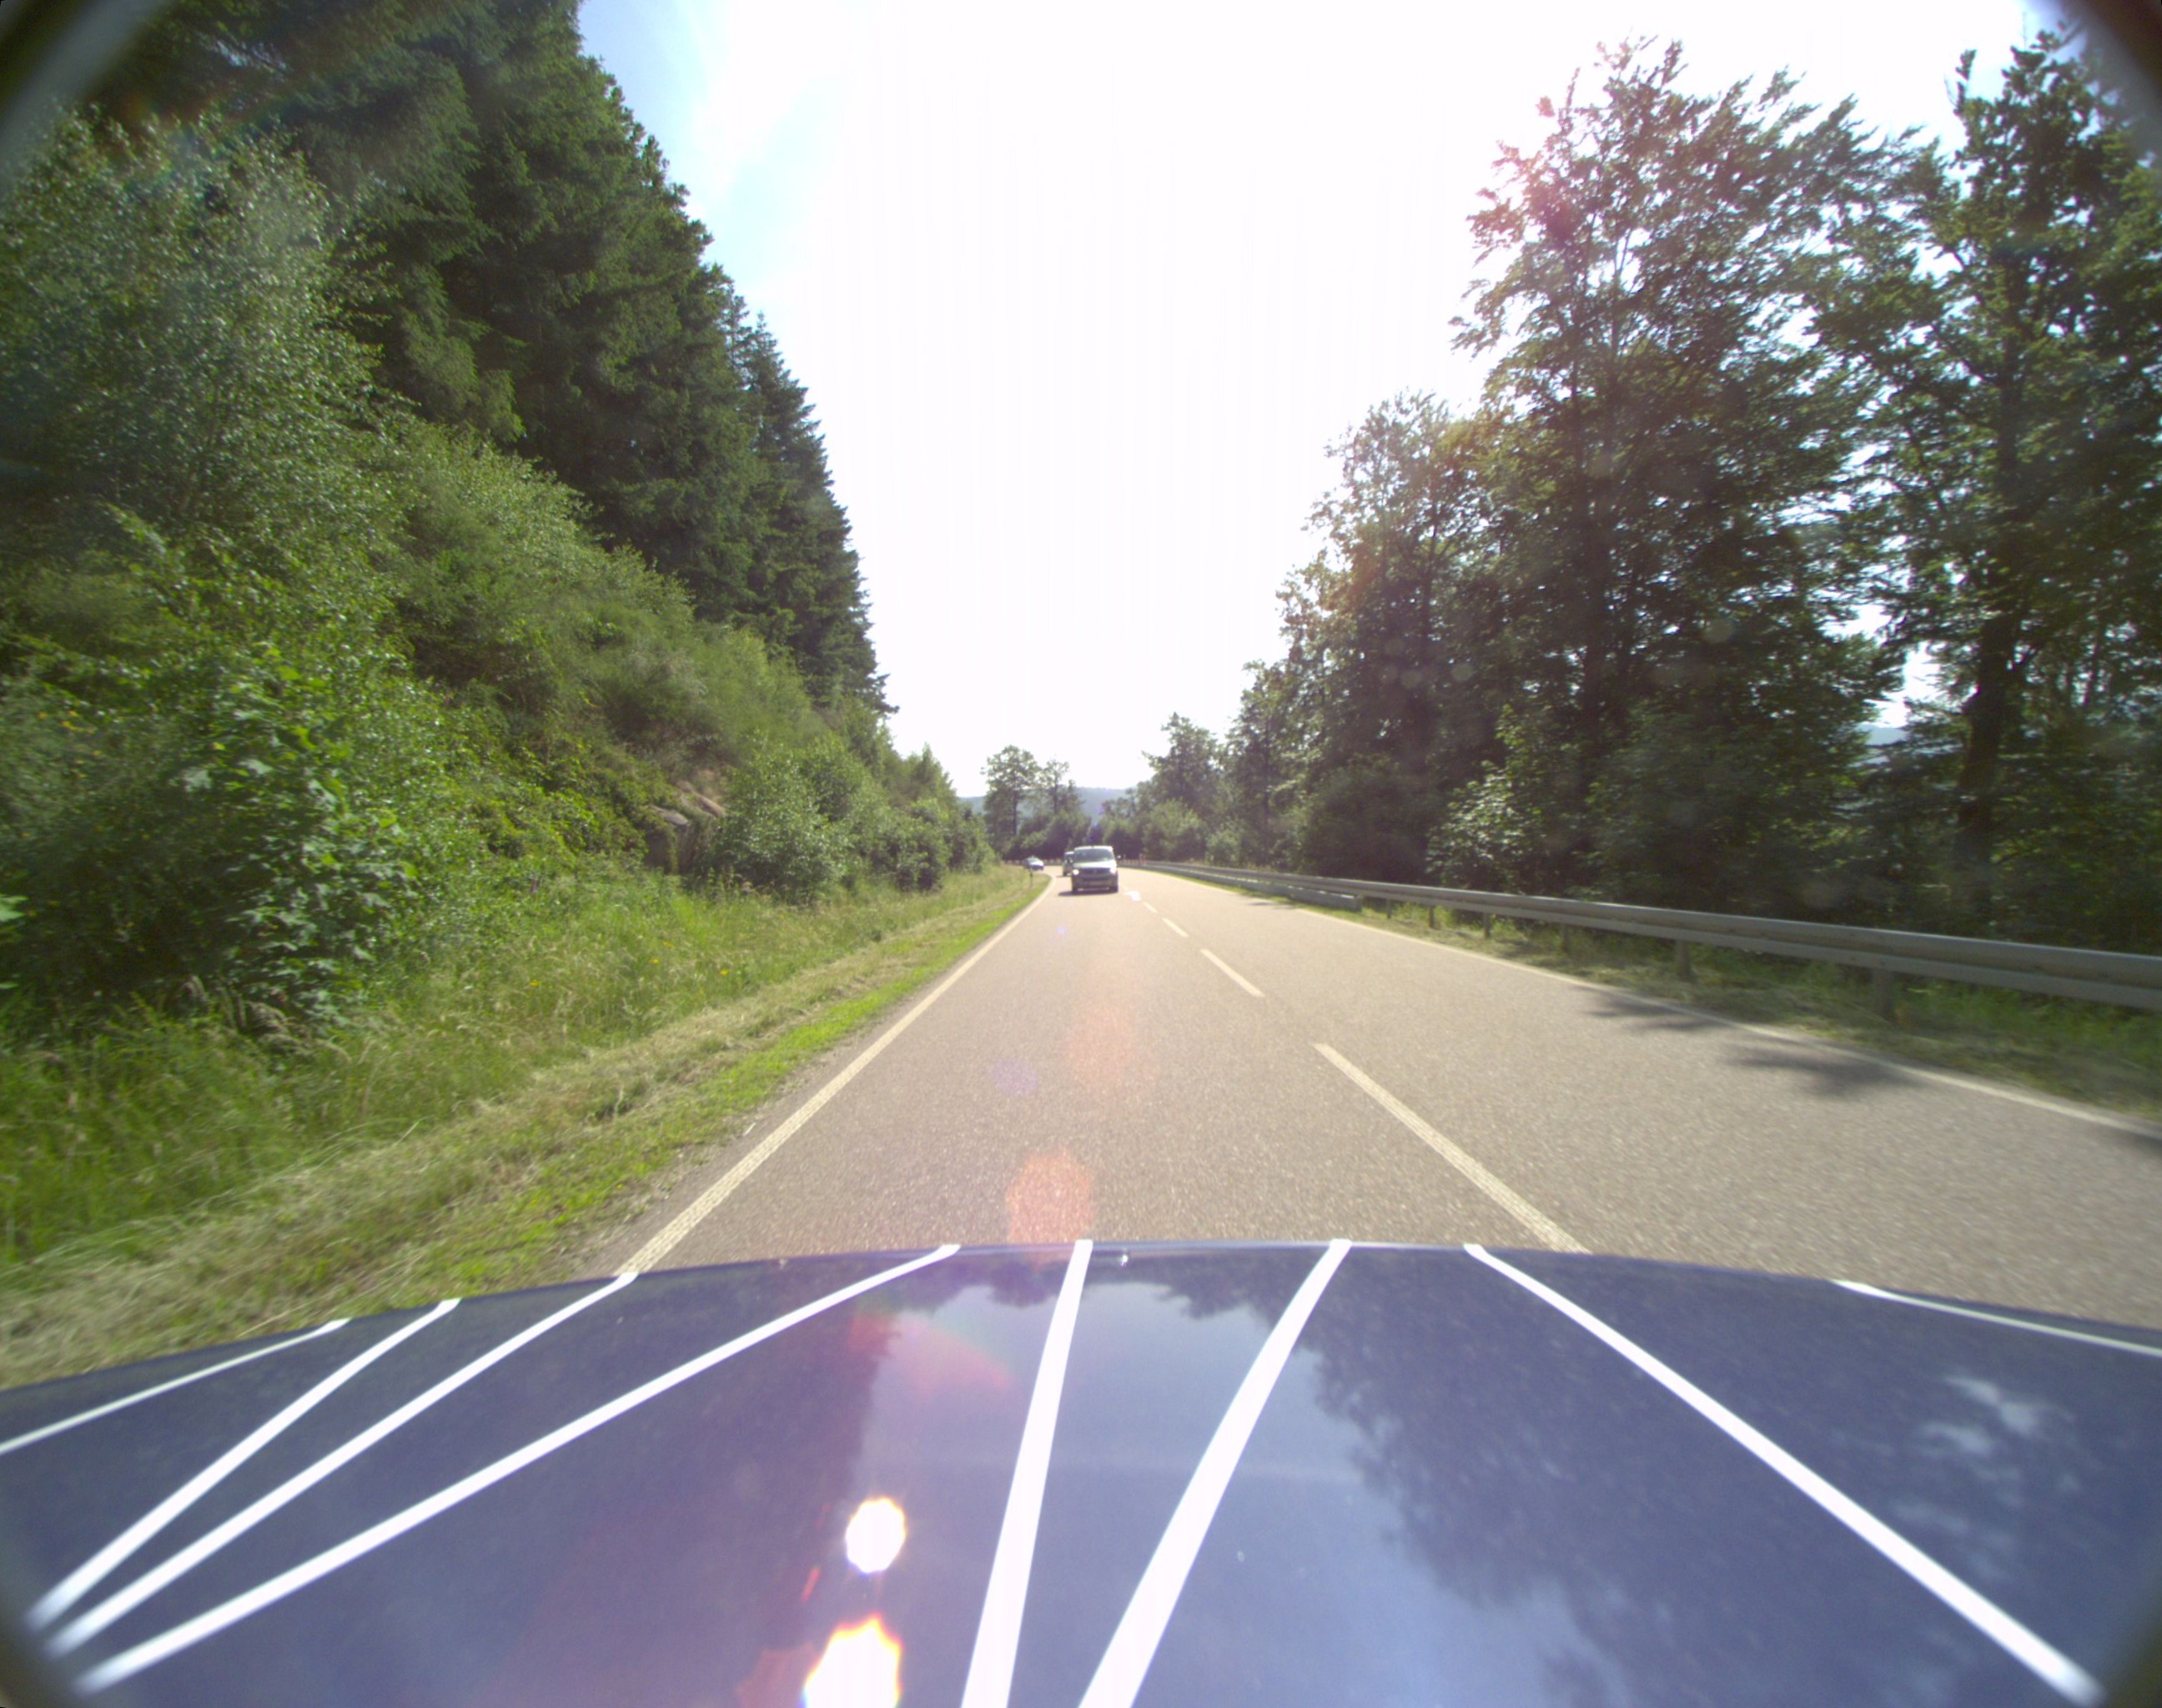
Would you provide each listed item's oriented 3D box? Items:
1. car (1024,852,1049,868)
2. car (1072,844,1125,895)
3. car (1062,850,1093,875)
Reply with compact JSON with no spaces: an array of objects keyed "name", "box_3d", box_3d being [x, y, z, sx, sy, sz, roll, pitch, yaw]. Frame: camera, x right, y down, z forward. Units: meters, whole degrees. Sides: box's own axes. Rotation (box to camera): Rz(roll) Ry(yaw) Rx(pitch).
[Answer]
[{"name":"car","box_3d":[-5.136,0.715,87.573,2.001,1.718,3.994,-3,1,-14]},{"name":"car","box_3d":[0.674,0.606,32.203,1.990,1.899,4.759,-3,0,0]},{"name":"car","box_3d":[-0.324,0.638,60.867,2.138,1.825,4.720,-1,0,-4]}]
